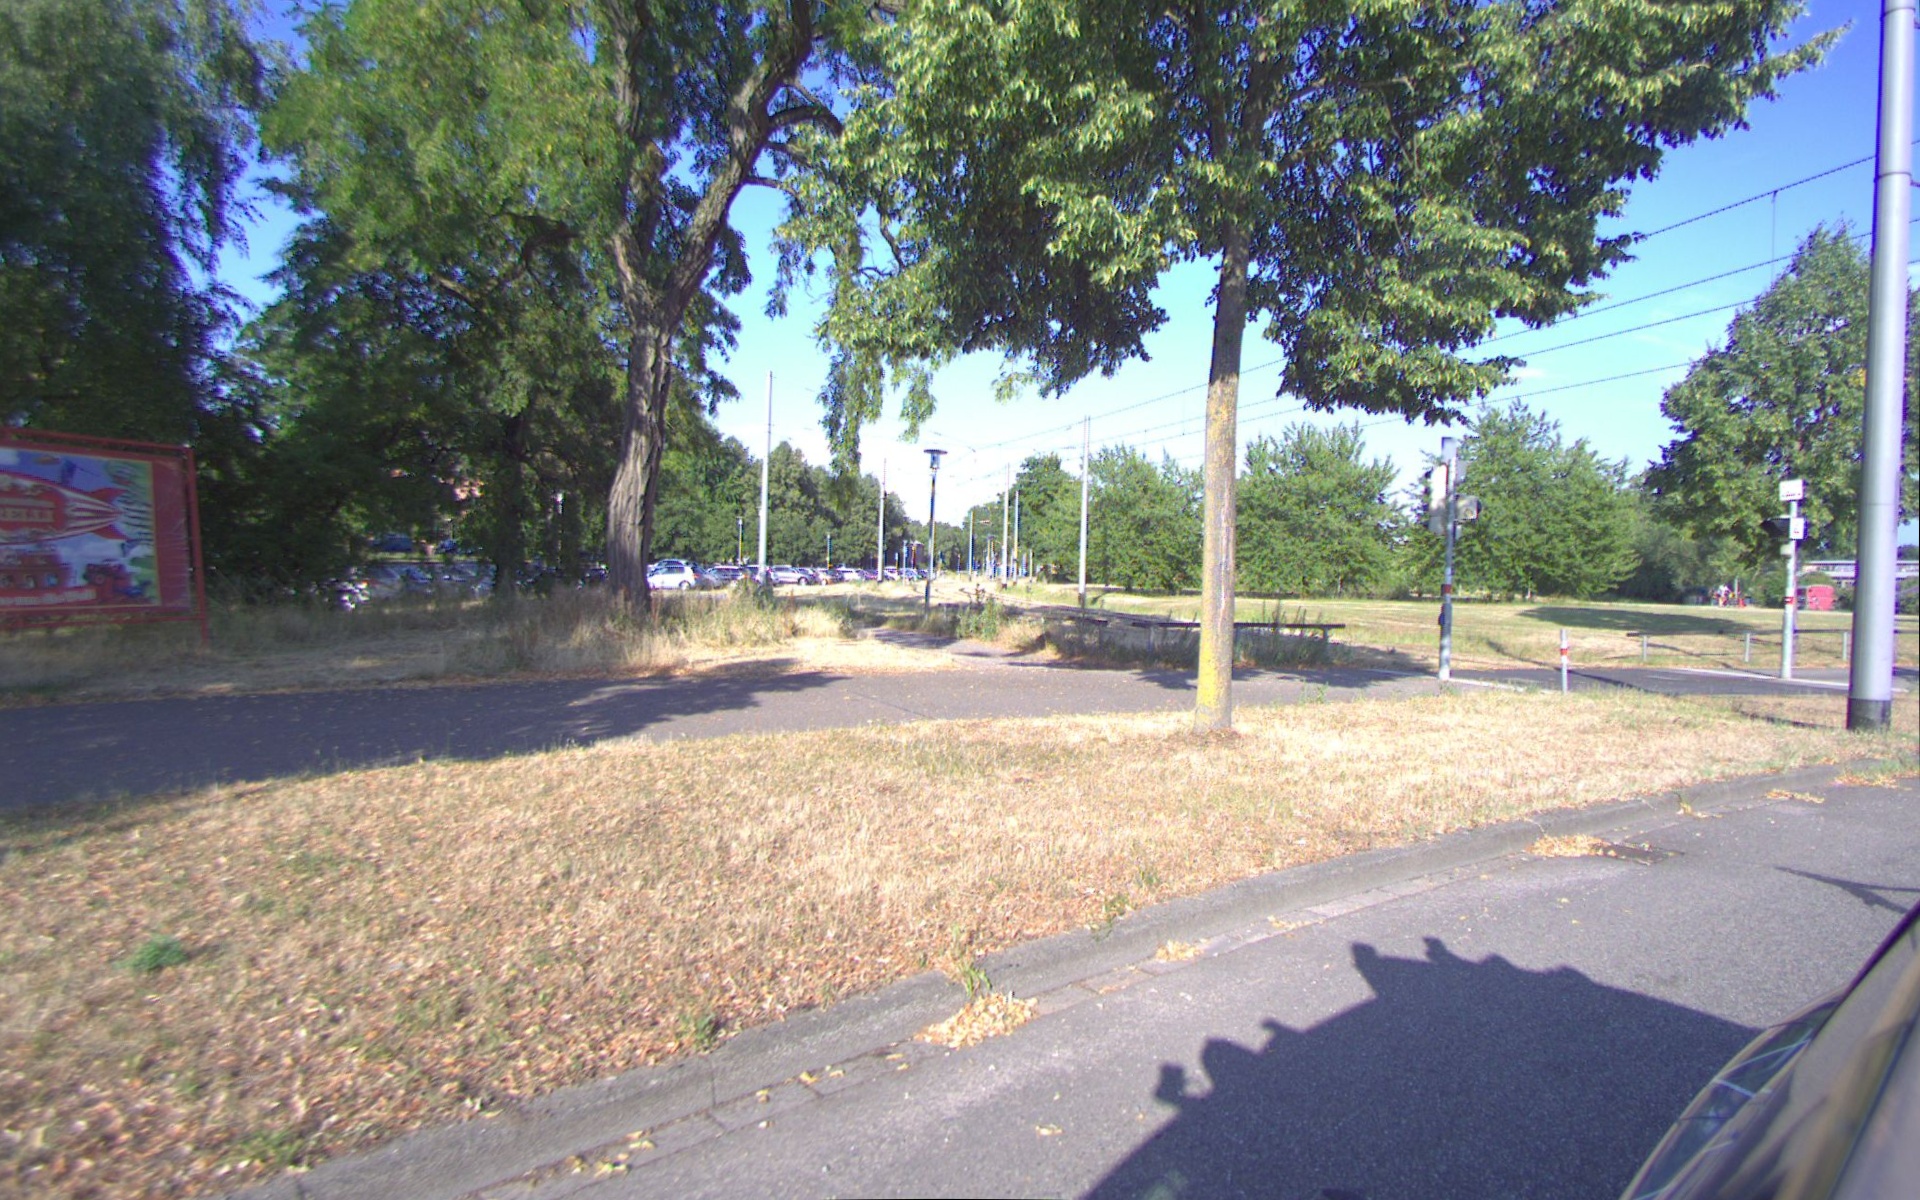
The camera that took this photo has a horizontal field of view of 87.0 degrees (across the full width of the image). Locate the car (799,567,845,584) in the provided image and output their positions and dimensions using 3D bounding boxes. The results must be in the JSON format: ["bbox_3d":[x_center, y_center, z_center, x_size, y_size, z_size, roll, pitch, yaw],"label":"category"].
[{"bbox_3d":[-11.885,-2.084,87.246,3.725,1.388,1.787,1,2,0],"label":"car"}]

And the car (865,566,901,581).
[{"bbox_3d":[-8.173,-2.866,107.825,3.725,1.530,1.787,1,2,0],"label":"car"}]

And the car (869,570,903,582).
[{"bbox_3d":[-8.281,-2.714,113.657,3.725,1.307,1.787,1,2,0],"label":"car"}]

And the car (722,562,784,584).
[{"bbox_3d":[-13.916,-1.831,68.159,3.732,1.388,1.784,1,2,6],"label":"car"}]

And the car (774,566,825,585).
[{"bbox_3d":[-12.525,-1.899,79.029,3.725,1.388,1.787,1,2,0],"label":"car"}]

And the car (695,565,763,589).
[{"bbox_3d":[-14.189,-1.450,62.337,3.732,1.388,1.784,1,2,6],"label":"car"}]

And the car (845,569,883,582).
[{"bbox_3d":[-9.814,-2.542,103.901,3.725,1.307,1.787,1,2,0],"label":"car"}]

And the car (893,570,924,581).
[{"bbox_3d":[-6.496,-3.107,127.629,3.732,1.307,1.784,1,2,6],"label":"car"}]

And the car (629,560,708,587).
[{"bbox_3d":[-15.826,-1.426,55.084,3.732,1.388,1.784,1,2,6],"label":"car"}]

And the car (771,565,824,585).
[{"bbox_3d":[-12.254,-1.893,76.486,3.725,1.388,1.787,1,2,0],"label":"car"}]

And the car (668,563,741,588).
[{"bbox_3d":[-14.906,-1.437,59.094,3.732,1.388,1.784,1,2,6],"label":"car"}]

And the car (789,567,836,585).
[{"bbox_3d":[-12.286,-2.015,84.373,3.725,1.388,1.787,1,2,0],"label":"car"}]

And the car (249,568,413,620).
[{"bbox_3d":[-18.904,-0.206,30.506,3.933,1.461,1.867,1,2,8],"label":"car"}]

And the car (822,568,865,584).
[{"bbox_3d":[-10.627,-2.200,92.284,3.725,1.388,1.787,1,2,0],"label":"car"}]

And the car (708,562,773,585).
[{"bbox_3d":[-13.997,-1.721,64.662,3.732,1.388,1.784,1,2,6],"label":"car"}]

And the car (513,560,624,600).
[{"bbox_3d":[-16.596,-0.854,42.996,3.931,1.593,1.997,1,2,7],"label":"car"}]

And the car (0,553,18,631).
[{"bbox_3d":[-19.994,-0.172,18.609,3.933,1.461,1.867,1,2,8],"label":"car"}]

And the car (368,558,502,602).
[{"bbox_3d":[-18.749,-0.720,36.221,3.933,1.461,1.867,1,2,8],"label":"car"}]
